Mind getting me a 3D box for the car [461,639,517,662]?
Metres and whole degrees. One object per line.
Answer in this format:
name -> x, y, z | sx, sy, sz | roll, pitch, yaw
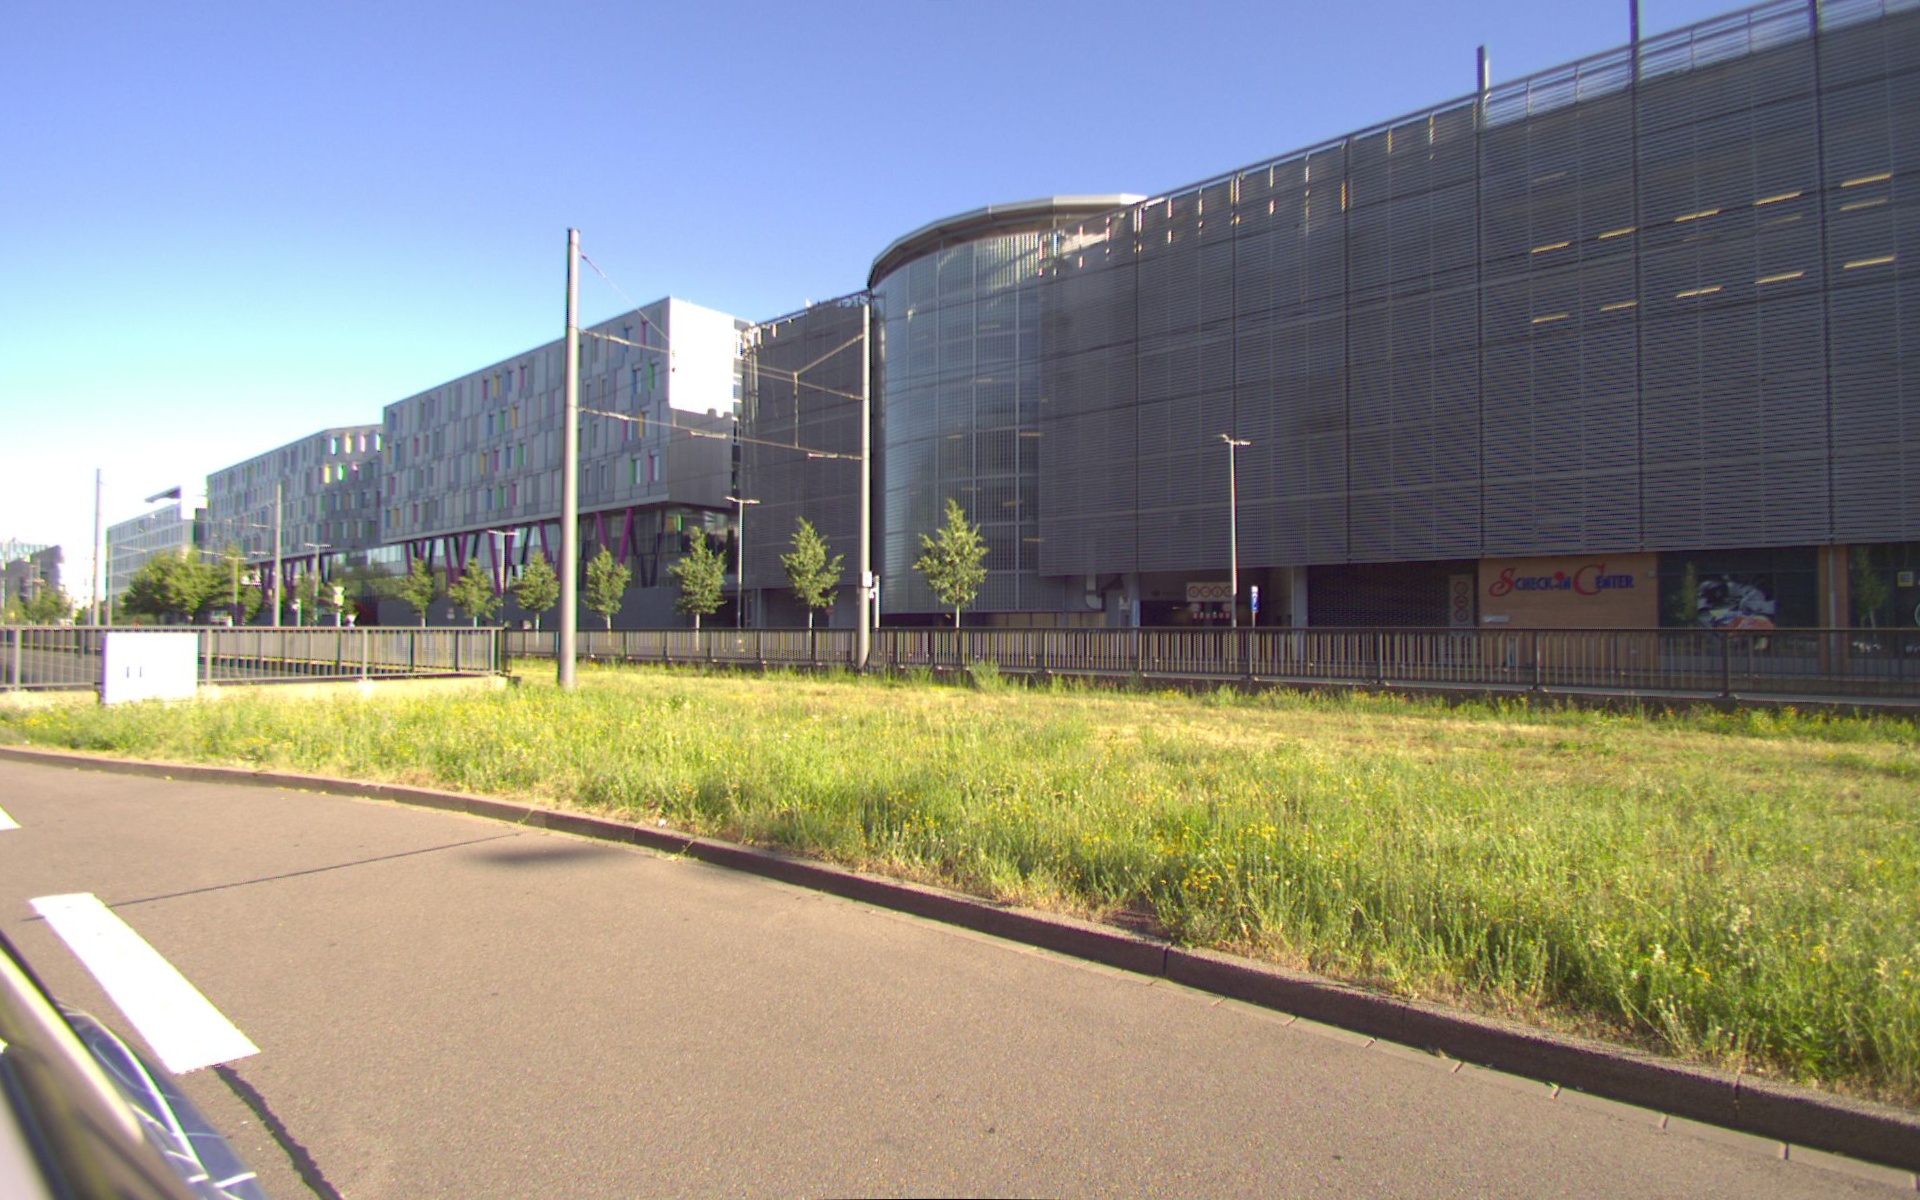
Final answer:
car -> -32.127, 3.415, 69.037 | 4.242, 1.512, 1.972 | -2, -2, 42
